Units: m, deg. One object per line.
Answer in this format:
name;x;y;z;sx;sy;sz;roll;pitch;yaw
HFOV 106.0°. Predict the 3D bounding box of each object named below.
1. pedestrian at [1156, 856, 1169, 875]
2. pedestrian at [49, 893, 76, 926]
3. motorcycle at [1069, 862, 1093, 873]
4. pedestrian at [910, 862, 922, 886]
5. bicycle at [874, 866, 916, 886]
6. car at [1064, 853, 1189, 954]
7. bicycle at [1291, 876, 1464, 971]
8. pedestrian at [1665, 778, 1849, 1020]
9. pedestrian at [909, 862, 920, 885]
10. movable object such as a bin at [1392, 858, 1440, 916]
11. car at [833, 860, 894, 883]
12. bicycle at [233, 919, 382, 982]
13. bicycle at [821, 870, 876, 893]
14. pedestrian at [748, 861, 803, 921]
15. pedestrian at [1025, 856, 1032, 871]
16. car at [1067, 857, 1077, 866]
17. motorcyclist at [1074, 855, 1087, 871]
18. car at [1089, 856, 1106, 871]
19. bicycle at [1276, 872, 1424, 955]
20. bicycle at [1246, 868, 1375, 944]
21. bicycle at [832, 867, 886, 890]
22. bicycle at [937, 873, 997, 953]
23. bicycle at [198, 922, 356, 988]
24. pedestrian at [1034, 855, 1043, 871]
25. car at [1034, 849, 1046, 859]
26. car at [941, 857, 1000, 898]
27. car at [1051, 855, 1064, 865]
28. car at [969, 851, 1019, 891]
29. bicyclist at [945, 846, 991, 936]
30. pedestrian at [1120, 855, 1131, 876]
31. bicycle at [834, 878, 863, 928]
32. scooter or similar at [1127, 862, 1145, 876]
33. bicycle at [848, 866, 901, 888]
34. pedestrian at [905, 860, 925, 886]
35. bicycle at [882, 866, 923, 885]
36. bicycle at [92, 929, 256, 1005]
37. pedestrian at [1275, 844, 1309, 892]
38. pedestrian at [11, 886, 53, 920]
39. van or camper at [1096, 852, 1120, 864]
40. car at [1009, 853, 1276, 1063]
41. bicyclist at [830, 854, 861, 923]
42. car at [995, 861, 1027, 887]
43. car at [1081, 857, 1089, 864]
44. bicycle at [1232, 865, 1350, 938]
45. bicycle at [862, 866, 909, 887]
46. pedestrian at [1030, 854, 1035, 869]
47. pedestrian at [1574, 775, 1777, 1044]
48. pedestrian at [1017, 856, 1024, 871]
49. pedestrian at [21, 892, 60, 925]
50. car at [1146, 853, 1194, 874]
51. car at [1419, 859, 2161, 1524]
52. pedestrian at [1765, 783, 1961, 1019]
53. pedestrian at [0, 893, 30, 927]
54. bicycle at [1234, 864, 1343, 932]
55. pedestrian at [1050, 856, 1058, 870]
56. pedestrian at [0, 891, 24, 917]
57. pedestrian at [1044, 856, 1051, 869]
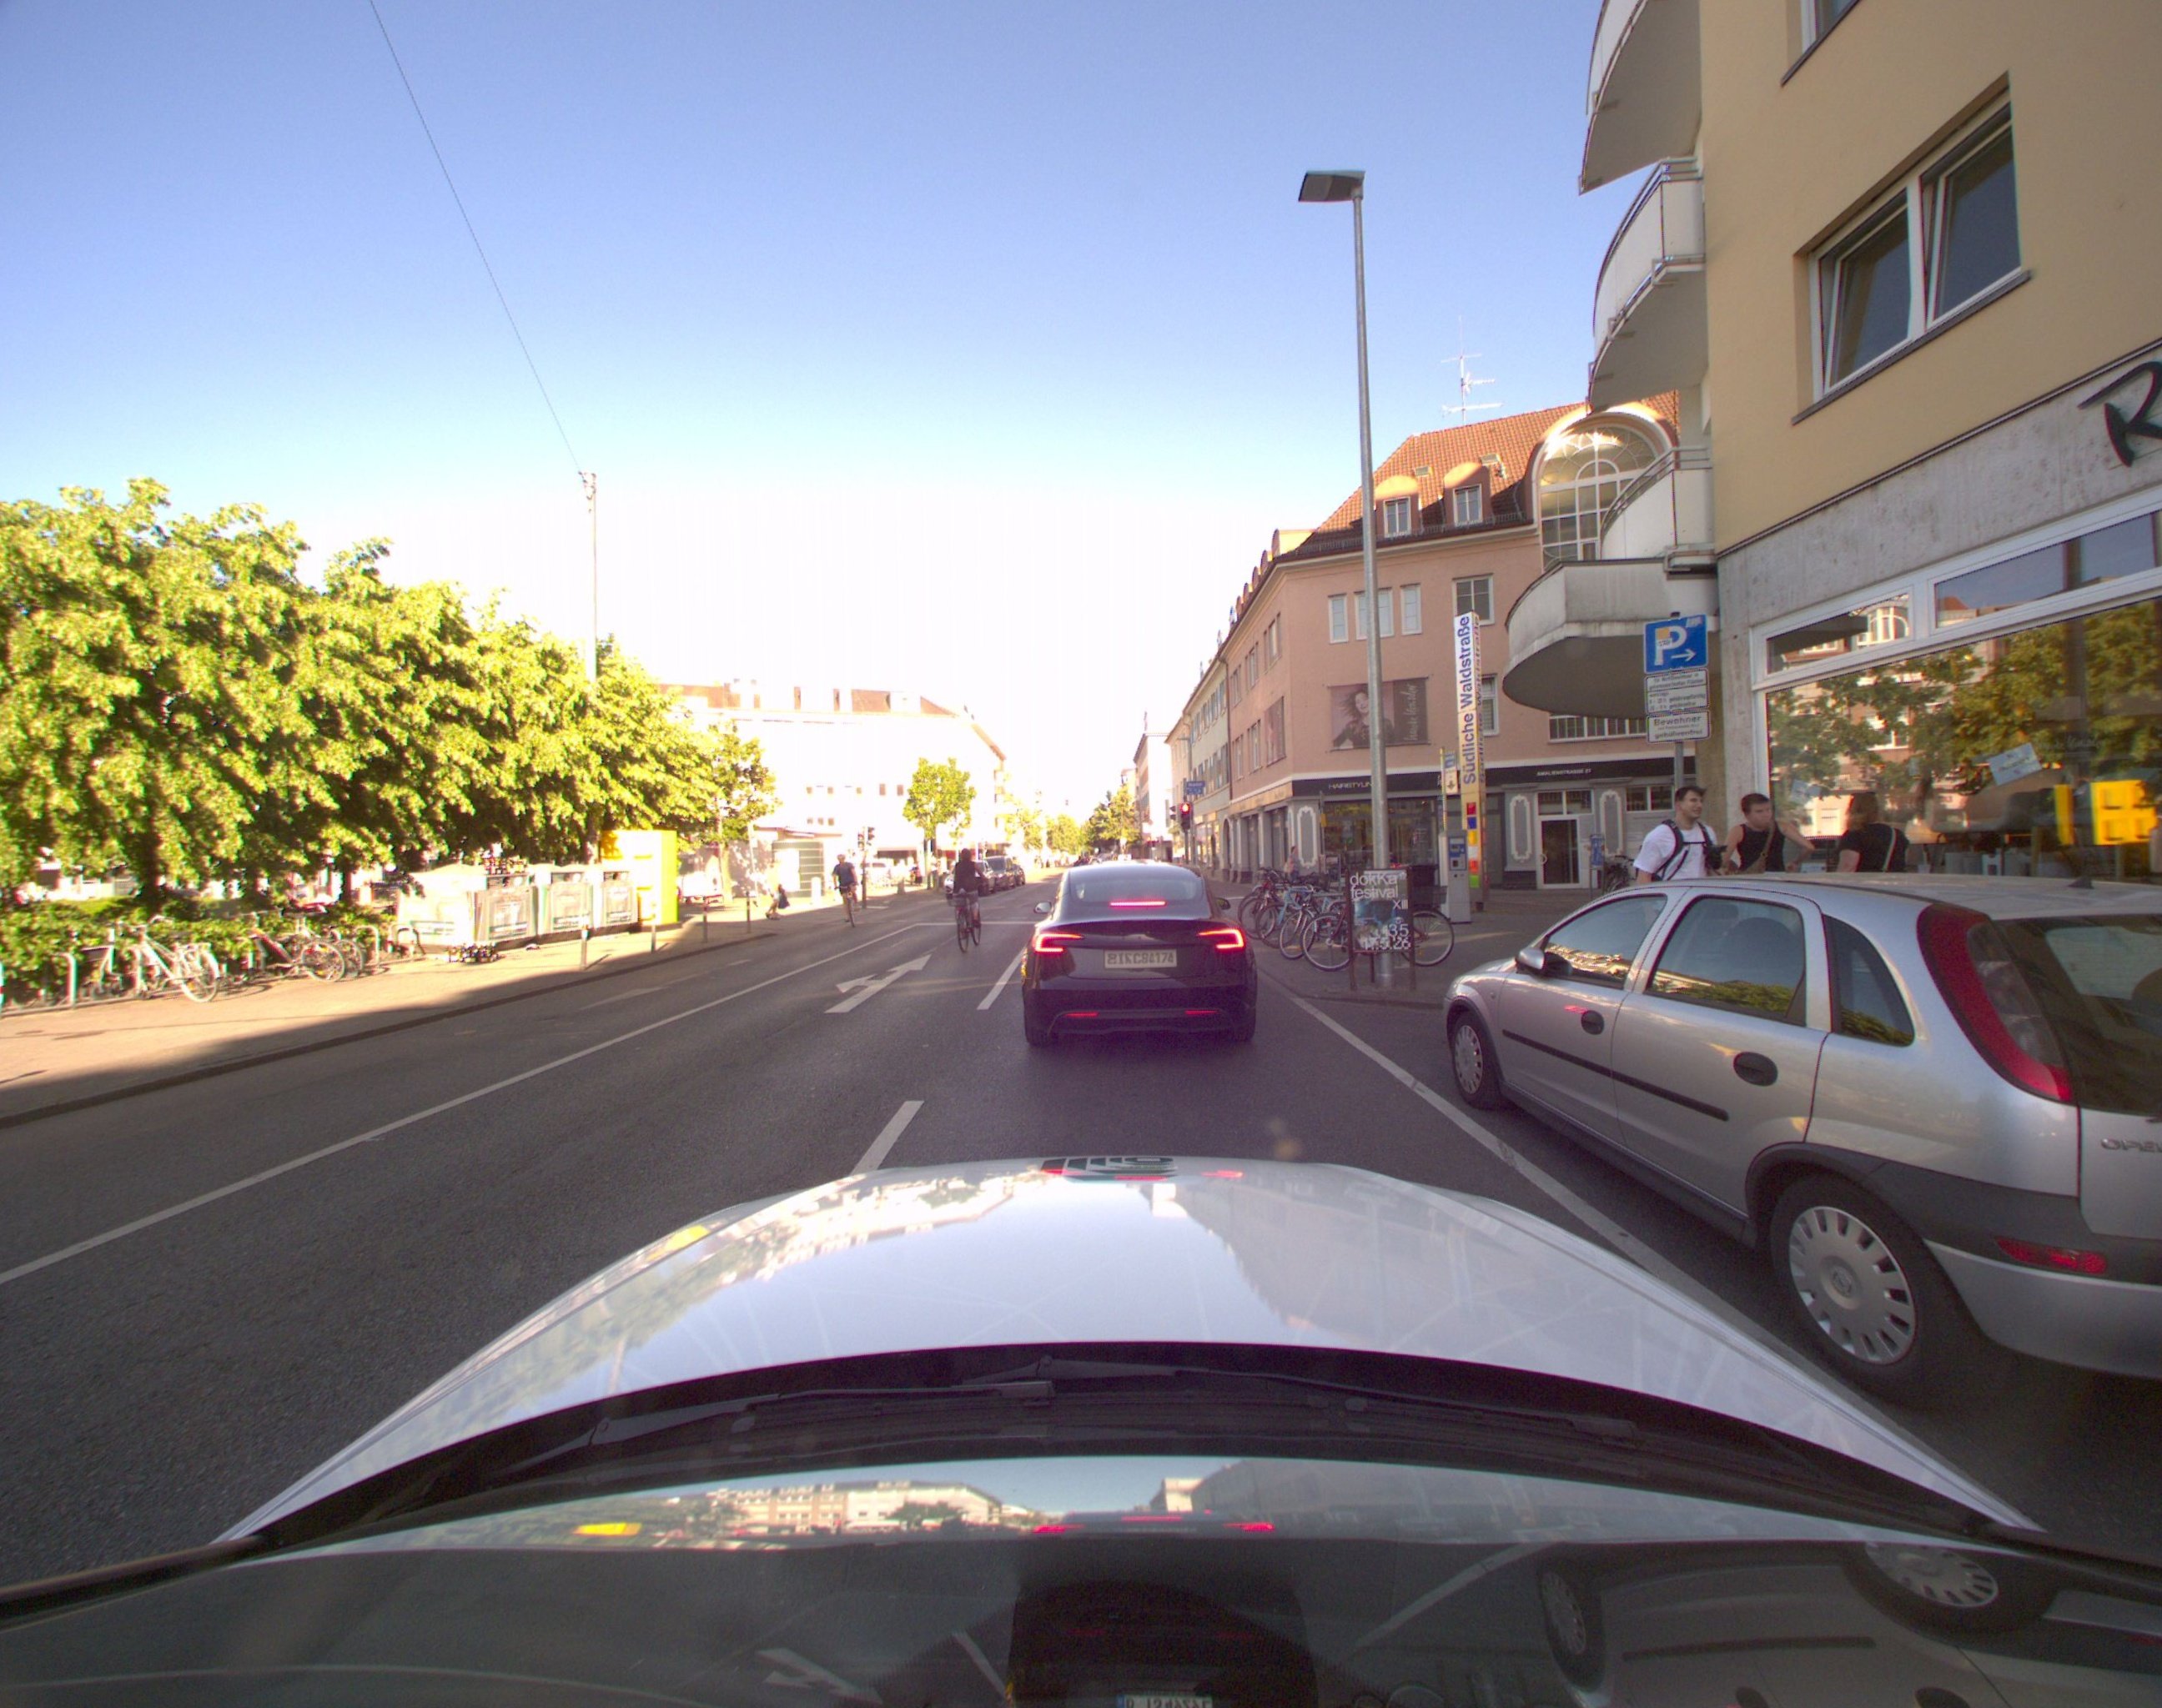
pedestrian;7.065;0.993;70.547;0.812;1.609;0.702;0;-1;-35
pedestrian;-48.360;2.616;38.671;0.827;1.520;0.782;-1;-1;38
motorcycle;-0.009;1.387;83.748;2.390;1.036;0.777;0;-1;-26
pedestrian;-12.556;1.497;61.834;0.845;1.760;0.703;0;-1;-15
bicycle;-11.999;1.401;52.578;2.535;1.251;0.942;0;-1;-1
car;0.741;0.751;14.308;1.843;1.482;4.453;0;0;2
bicycle;3.635;0.847;10.084;1.875;1.044;0.653;-2;0;3
pedestrian;5.593;0.357;6.802;0.677;1.849;0.895;-4;-1;6
pedestrian;-12.814;1.505;62.592;0.661;1.760;0.648;0;-1;-24
movable object such as a bin;6.744;0.661;16.423;0.633;1.103;0.728;-4;-1;5
car;-19.769;1.566;73.952;5.213;1.866;1.871;-1;0;-20
bicycle;-11.462;1.427;12.104;1.663;0.859;0.469;0;-1;-5
bicycle;-12.326;1.439;43.246;2.652;1.195;0.942;0;-1;-1
pedestrian;-9.009;1.064;24.024;1.102;1.719;1.065;-1;-1;12
pedestrian;-6.333;1.128;97.607;0.734;1.868;0.787;0;-1;-15
car;-1.992;1.769;187.430;2.124;1.970;4.135;-1;0;2
motorcyclist;-0.083;0.916;83.707;1.114;1.633;0.770;0;-1;-24
car;2.119;1.213;103.337;2.029;1.788;4.005;-1;0;0
bicycle;3.655;0.800;11.157;1.806;1.060;0.653;-1;0;3
bicycle;3.517;0.793;12.568;1.806;1.102;0.653;-1;0;3
bicycle;-12.394;1.371;45.590;2.772;1.274;0.933;0;-1;-2
bicycle;-1.917;0.957;13.981;0.625;1.223;2.002;0;0;3
bicycle;-11.428;1.426;11.605;1.667;0.859;0.469;0;-1;-5
pedestrian;-5.007;1.097;94.973;0.726;1.868;0.796;-1;-1;30
car;-9.015;-0.021;180.140;2.266;2.014;4.720;0;-1;3
car;-4.884;1.017;36.599;1.818;1.565;4.302;-5;-1;2
car;-4.854;1.315;166.810;2.405;1.970;4.679;-1;0;2
car;-4.496;0.836;42.922;1.938;1.947;4.822;-1;0;2
bicyclist;-1.916;0.617;13.896;0.603;1.484;0.959;0;-1;3
pedestrian;3.687;0.949;67.784;0.660;1.760;0.649;0;-1;-22
bicycle;-5.973;1.227;20.896;0.617;1.162;1.946;-4;0;-16
scooter or similar;4.618;1.254;68.197;1.339;1.134;0.804;0;-1;-23
bicycle;-12.155;1.364;47.985;2.867;1.270;0.942;0;-1;-1
pedestrian;-10.686;1.213;52.570;1.091;1.611;1.264;0;-1;-5
bicycle;-12.053;1.420;55.006;2.535;1.251;0.942;0;-1;-1
bicycle;-11.463;1.420;10.307;1.560;0.885;0.470;0;-1;1
pedestrian;6.933;0.466;26.735;0.794;1.549;0.717;0;-1;-30
pedestrian;-59.709;2.797;46.354;1.308;1.842;1.088;0;-1;-44
van or camper;5.638;0.845;167.661;4.832;2.438;1.851;-1;0;1
car;0.494;0.741;7.884;1.843;1.447;4.453;0;0;2
bicyclist;-5.993;0.860;20.780;0.702;1.709;0.806;-2;0;-16
car;-4.257;1.205;50.048;1.455;1.430;3.607;-5;-1;2
car;0.994;1.535;197.602;1.886;1.813;3.925;0;-1;0
bicycle;3.495;0.777;13.643;1.806;1.152;0.653;-1;0;3
bicycle;-12.054;1.387;50.303;2.655;1.259;0.942;0;-1;-1
pedestrian;-6.214;0.974;104.226;0.693;1.868;0.658;0;-1;-3
pedestrian;4.343;0.382;6.041;0.805;1.823;0.984;0;-1;5
pedestrian;-7.185;1.131;97.240;0.734;1.868;0.787;0;-1;-15
pedestrian;-51.609;2.691;40.415;1.029;1.520;1.023;0;-1;-43
car;8.147;0.871;74.651;4.006;1.867;1.686;-1;0;-20
car;2.959;0.741;3.547;1.578;1.426;3.581;0;-1;2
pedestrian;6.299;0.363;6.613;0.718;1.754;0.789;-4;-1;5
pedestrian;-49.944;2.623;38.025;0.928;1.520;0.924;0;-1;-43
bicycle;3.736;0.785;14.772;1.806;1.152;0.653;-1;0;3
pedestrian;-3.731;1.231;112.937;0.776;1.868;1.003;0;-1;-16
pedestrian;-51.701;2.380;39.028;0.863;1.214;0.898;0;-1;-7
pedestrian;-4.780;1.266;116.315;0.697;1.868;0.904;0;-1;-18
